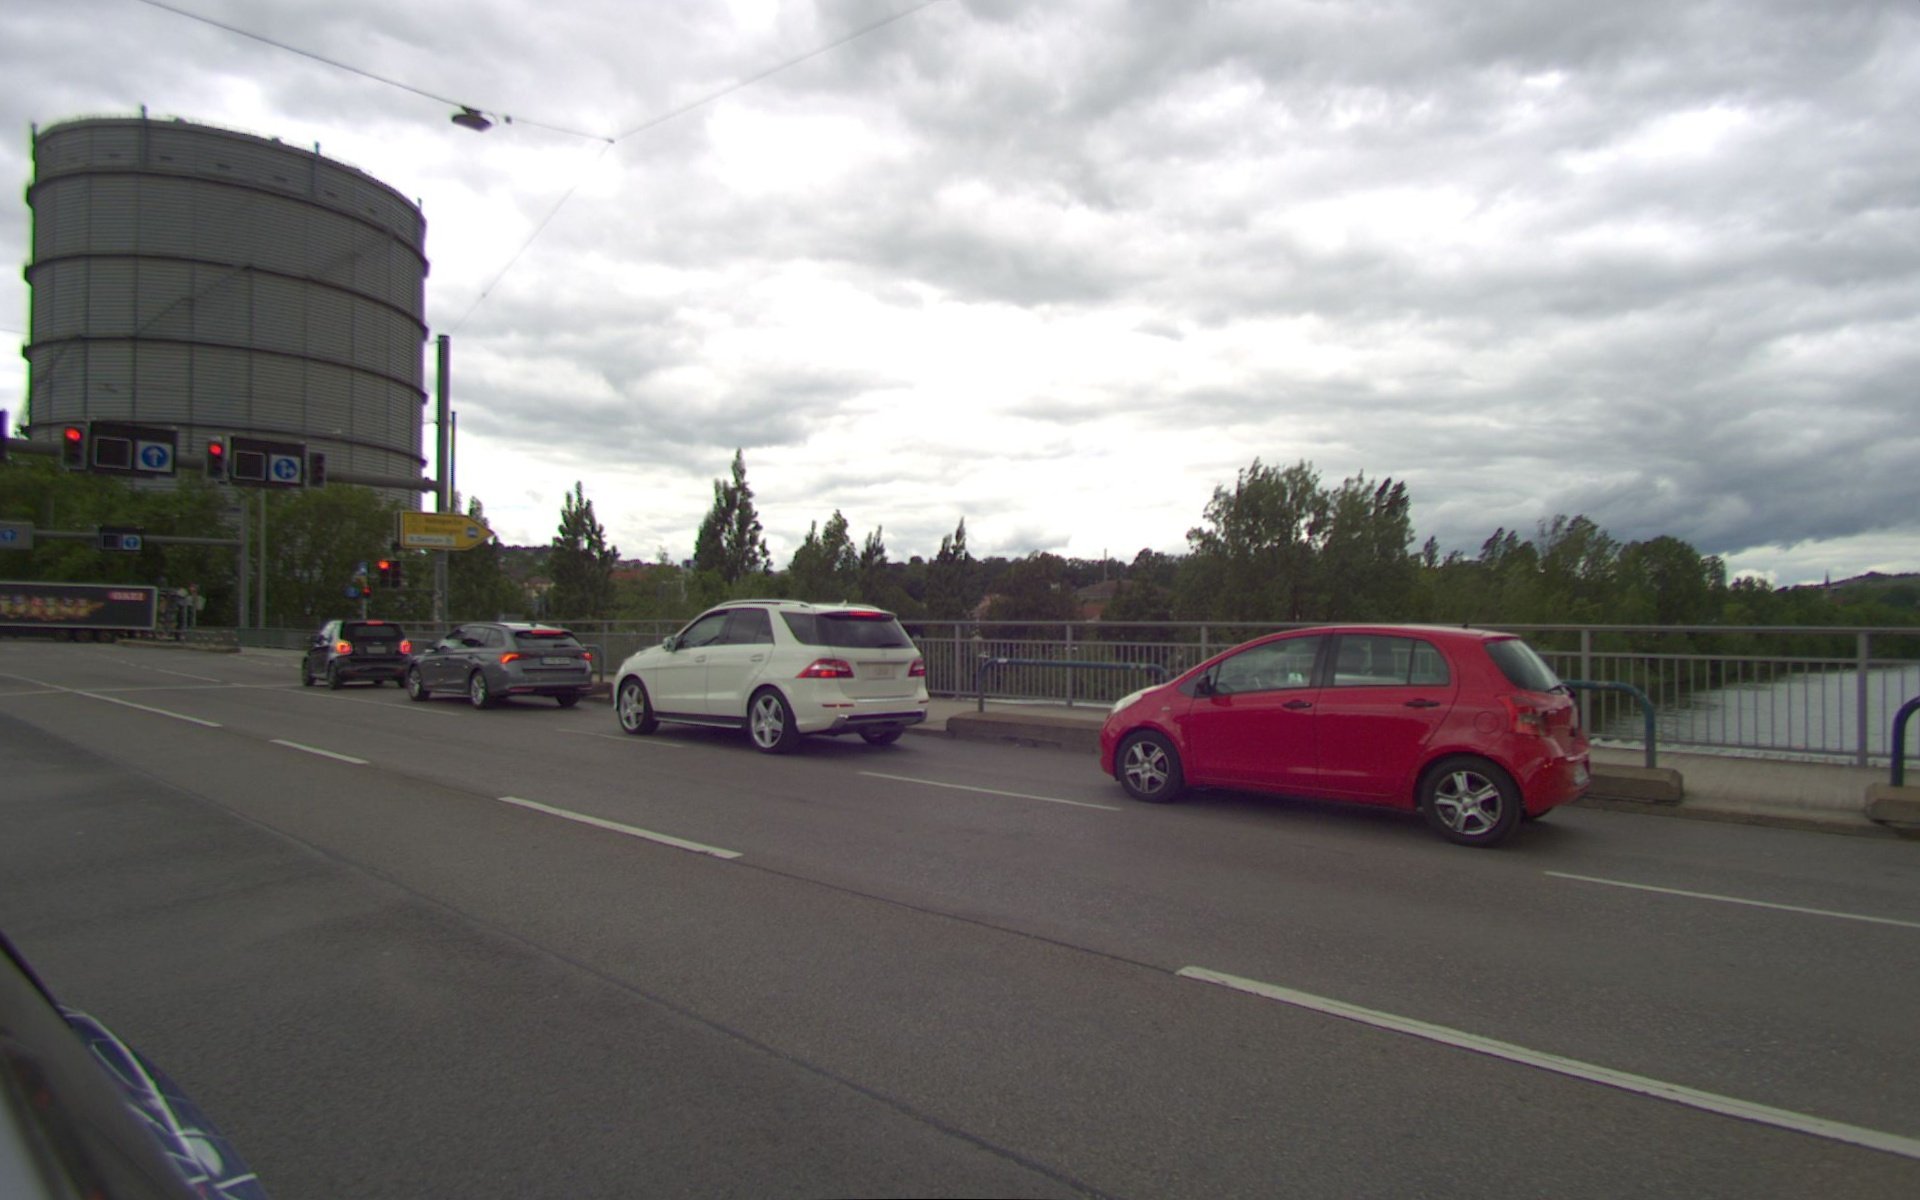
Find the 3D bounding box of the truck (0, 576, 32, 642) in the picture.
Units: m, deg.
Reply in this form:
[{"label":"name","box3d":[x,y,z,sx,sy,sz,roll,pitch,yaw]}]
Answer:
[{"label":"truck","box3d":[-67.732,0.483,68.025,7.138,4.354,3.669,2,-3,2]}]

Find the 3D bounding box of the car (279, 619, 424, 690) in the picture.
[{"label":"car","box3d":[-14.215,1.221,23.579,3.870,1.516,1.816,-1,-3,42]}]

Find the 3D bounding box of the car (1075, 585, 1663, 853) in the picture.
[{"label":"car","box3d":[3.114,0.772,8.142,4.013,1.615,1.860,-1,-3,41]}]

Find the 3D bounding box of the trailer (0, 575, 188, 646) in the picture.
[{"label":"trailer","box3d":[-61.799,0.715,69.355,13.549,4.354,3.681,3,-4,-15]}]

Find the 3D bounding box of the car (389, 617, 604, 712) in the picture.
[{"label":"car","box3d":[-8.504,1.092,18.398,4.514,1.516,1.816,-1,-3,41]}]

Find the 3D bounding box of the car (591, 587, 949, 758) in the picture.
[{"label":"car","box3d":[-2.547,0.814,12.806,4.799,1.774,1.860,-1,-3,41]}]
